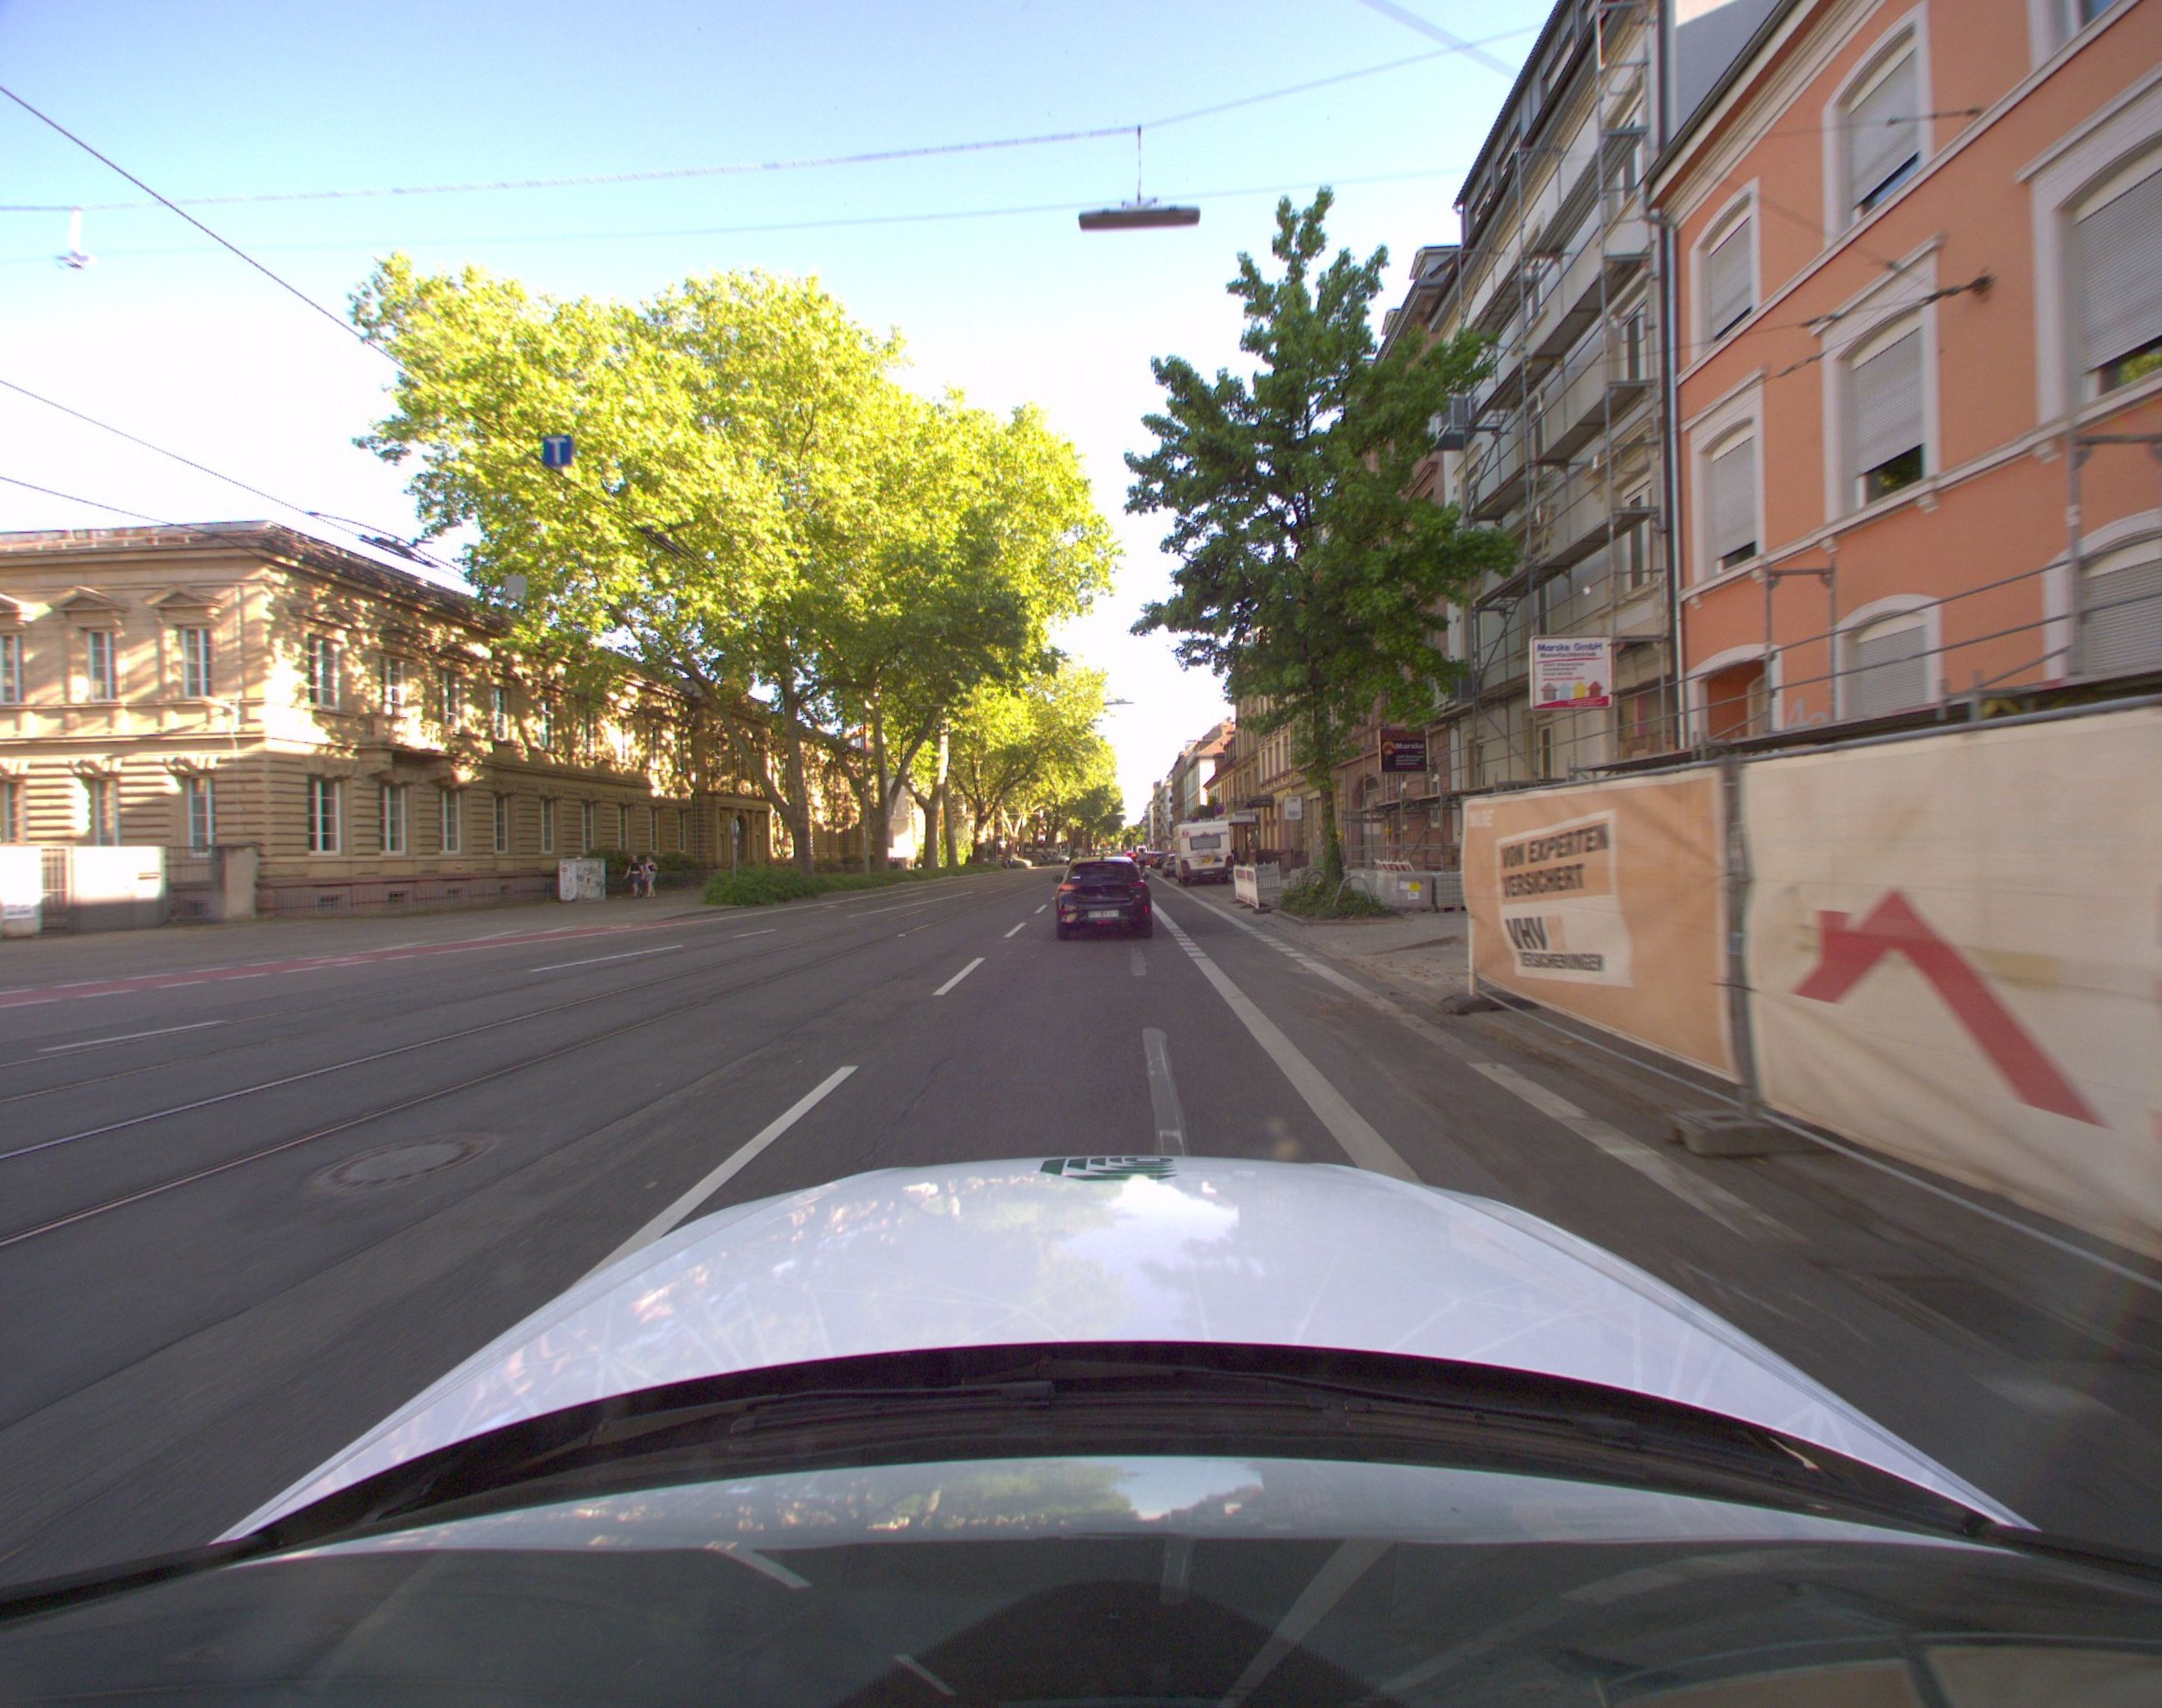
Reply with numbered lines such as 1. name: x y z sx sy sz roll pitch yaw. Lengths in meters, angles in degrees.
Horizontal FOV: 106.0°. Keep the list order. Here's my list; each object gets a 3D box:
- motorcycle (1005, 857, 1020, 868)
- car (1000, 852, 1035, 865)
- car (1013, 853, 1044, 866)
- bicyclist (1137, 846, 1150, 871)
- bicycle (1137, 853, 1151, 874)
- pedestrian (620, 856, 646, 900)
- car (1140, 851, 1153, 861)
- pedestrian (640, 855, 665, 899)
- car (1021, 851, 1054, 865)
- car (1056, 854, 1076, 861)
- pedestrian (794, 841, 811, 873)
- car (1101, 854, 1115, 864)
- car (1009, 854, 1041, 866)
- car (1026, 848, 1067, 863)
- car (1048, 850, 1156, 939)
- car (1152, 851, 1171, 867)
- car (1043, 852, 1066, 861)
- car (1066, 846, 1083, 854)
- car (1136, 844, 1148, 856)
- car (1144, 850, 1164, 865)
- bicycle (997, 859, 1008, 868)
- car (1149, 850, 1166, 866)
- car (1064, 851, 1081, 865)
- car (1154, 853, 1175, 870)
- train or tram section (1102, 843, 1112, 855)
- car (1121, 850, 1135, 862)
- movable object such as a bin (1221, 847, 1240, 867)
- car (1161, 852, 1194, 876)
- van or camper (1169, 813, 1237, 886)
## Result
1. motorcycle: -7.210 0.861 85.883 0.879 1.147 2.398 -1 0 11
2. car: -7.580 0.550 97.245 3.903 1.462 1.807 -1 0 3
3. car: -6.948 0.693 108.034 3.978 1.627 1.881 0 0 2
4. bicyclist: 4.429 0.320 57.740 0.845 1.740 1.162 -1 0 2
5. bicycle: 4.437 0.656 57.688 0.857 1.407 2.525 -1 0 2
6. pedestrian: -17.470 0.930 31.784 0.670 1.697 0.661 -1 0 -4
7. car: 10.024 0.324 124.482 1.696 1.456 3.704 -5 0 6
8. pedestrian: -16.799 0.891 31.920 0.633 1.697 0.655 -1 0 -4
9. car: -6.425 0.561 119.925 4.654 1.924 1.982 0 0 4
10. car: -3.058 0.733 165.893 3.907 1.498 1.677 0 0 0
11. pedestrian: -16.230 0.179 47.396 0.717 1.849 0.836 -1 0 -4
12. car: 3.840 0.698 115.506 1.802 1.338 3.935 -1 0 2
13. car: -7.287 0.762 105.825 3.903 1.442 1.750 0 0 3
14. car: -5.729 0.188 134.958 6.600 2.409 2.460 0 0 3
15. car: 0.440 0.665 15.386 1.786 1.441 3.534 -1 1 3
16. car: 7.852 0.467 79.517 1.644 1.456 3.871 -2 0 3
17. car: -4.546 0.433 141.549 3.907 1.498 1.677 0 0 0
18. car: -1.571 -0.894 196.292 3.907 1.790 1.677 0 0 0
19. car: 12.123 -0.833 162.055 2.066 2.219 4.939 -5 0 4
20. car: 8.528 0.369 95.385 1.874 1.586 3.932 -5 0 0
21. bicycle: -8.282 0.980 86.039 0.537 0.940 2.040 -1 0 11
22. car: 7.863 0.442 83.959 1.627 1.546 3.580 -2 0 4
23. car: -1.093 0.505 107.737 1.859 1.629 4.564 -2 1 3
24. car: 7.410 0.626 72.153 1.686 1.392 4.500 -2 0 4
25. train or tram section: 8.402 -1.617 263.352 2.722 3.681 12.731 -2 0 4
26. car: 6.858 0.283 118.416 1.801 1.742 3.937 -1 0 4
27. movable object such as a bin: 11.628 0.206 63.383 1.288 1.520 1.287 -1 0 3
28. car: 6.245 0.618 53.126 1.802 1.435 4.668 -2 0 3
29. van or camper: 5.754 -0.195 39.486 2.466 2.972 7.893 -5 0 4
